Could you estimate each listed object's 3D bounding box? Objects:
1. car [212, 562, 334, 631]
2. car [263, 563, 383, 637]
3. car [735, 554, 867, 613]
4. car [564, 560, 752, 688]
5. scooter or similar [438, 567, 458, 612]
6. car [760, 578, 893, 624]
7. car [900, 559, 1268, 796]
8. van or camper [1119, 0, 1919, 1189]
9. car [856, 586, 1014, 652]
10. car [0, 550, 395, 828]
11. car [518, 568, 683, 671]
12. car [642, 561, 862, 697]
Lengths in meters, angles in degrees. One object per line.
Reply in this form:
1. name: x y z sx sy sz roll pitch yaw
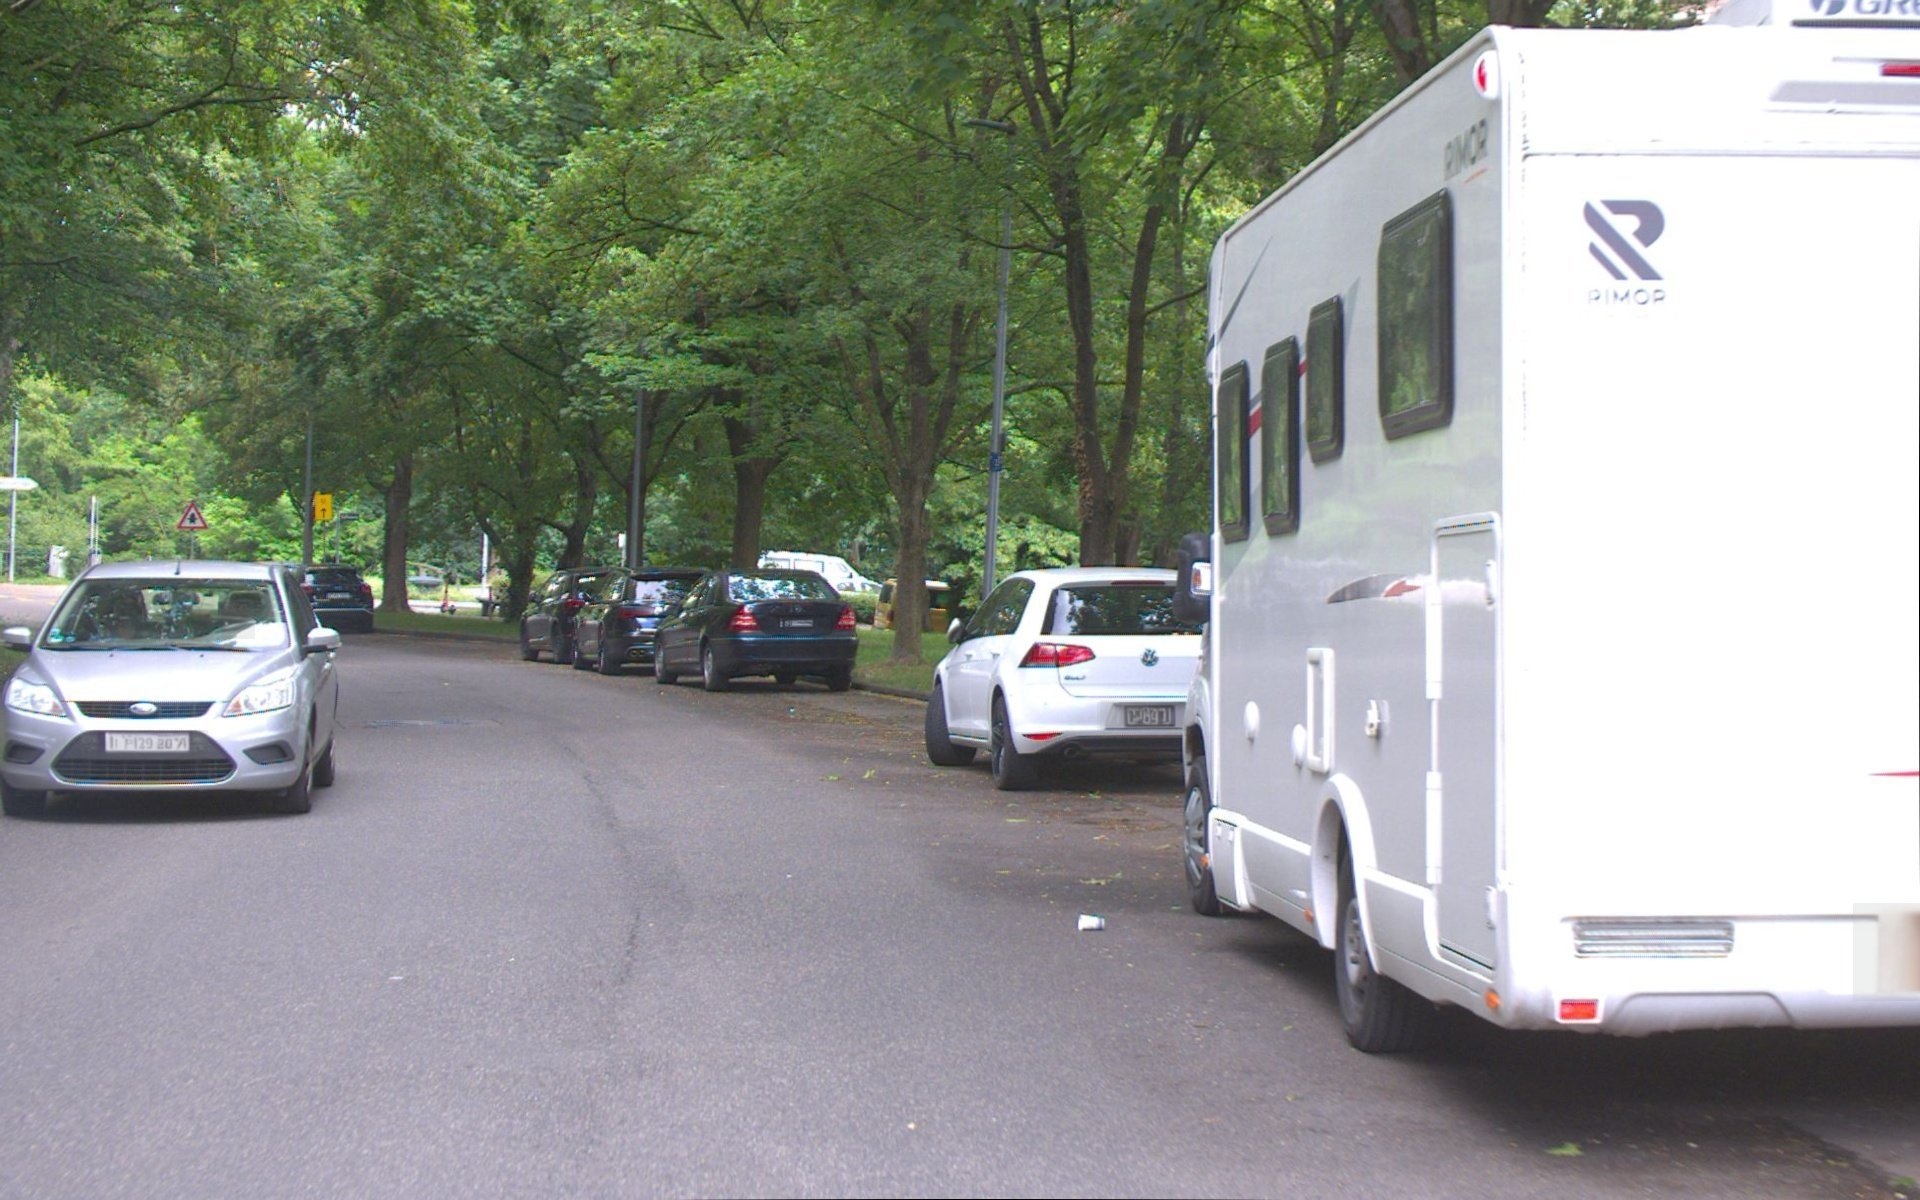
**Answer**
1. car: -16.070 -0.097 80.270 1.773 1.517 3.781 1 1 -28
2. car: -14.061 -0.018 75.742 1.773 1.517 4.184 1 1 -22
3. car: -5.618 -0.581 121.455 4.204 2.007 2.001 1 0 -19
4. car: -4.162 0.287 46.743 1.913 1.606 4.736 1 1 -13
5. scooter or similar: -14.689 -0.299 98.595 0.283 1.282 1.108 2 0 -22
6. car: -4.618 0.033 118.623 4.204 1.493 1.800 1 0 -19
7. car: 0.760 0.473 23.878 1.688 1.477 4.108 1 1 -10
8. van or camper: 2.179 -0.153 11.662 2.424 2.969 7.394 1 0 -4
9. car: -0.749 0.567 103.864 4.395 1.842 1.833 2 1 -15
10. car: -4.676 0.471 21.020 1.794 1.503 4.000 1 0 -1
11. car: -5.504 0.271 52.253 1.681 1.459 3.899 1 1 -18
12. car: -2.514 0.303 40.615 1.588 1.460 4.318 1 1 -17
